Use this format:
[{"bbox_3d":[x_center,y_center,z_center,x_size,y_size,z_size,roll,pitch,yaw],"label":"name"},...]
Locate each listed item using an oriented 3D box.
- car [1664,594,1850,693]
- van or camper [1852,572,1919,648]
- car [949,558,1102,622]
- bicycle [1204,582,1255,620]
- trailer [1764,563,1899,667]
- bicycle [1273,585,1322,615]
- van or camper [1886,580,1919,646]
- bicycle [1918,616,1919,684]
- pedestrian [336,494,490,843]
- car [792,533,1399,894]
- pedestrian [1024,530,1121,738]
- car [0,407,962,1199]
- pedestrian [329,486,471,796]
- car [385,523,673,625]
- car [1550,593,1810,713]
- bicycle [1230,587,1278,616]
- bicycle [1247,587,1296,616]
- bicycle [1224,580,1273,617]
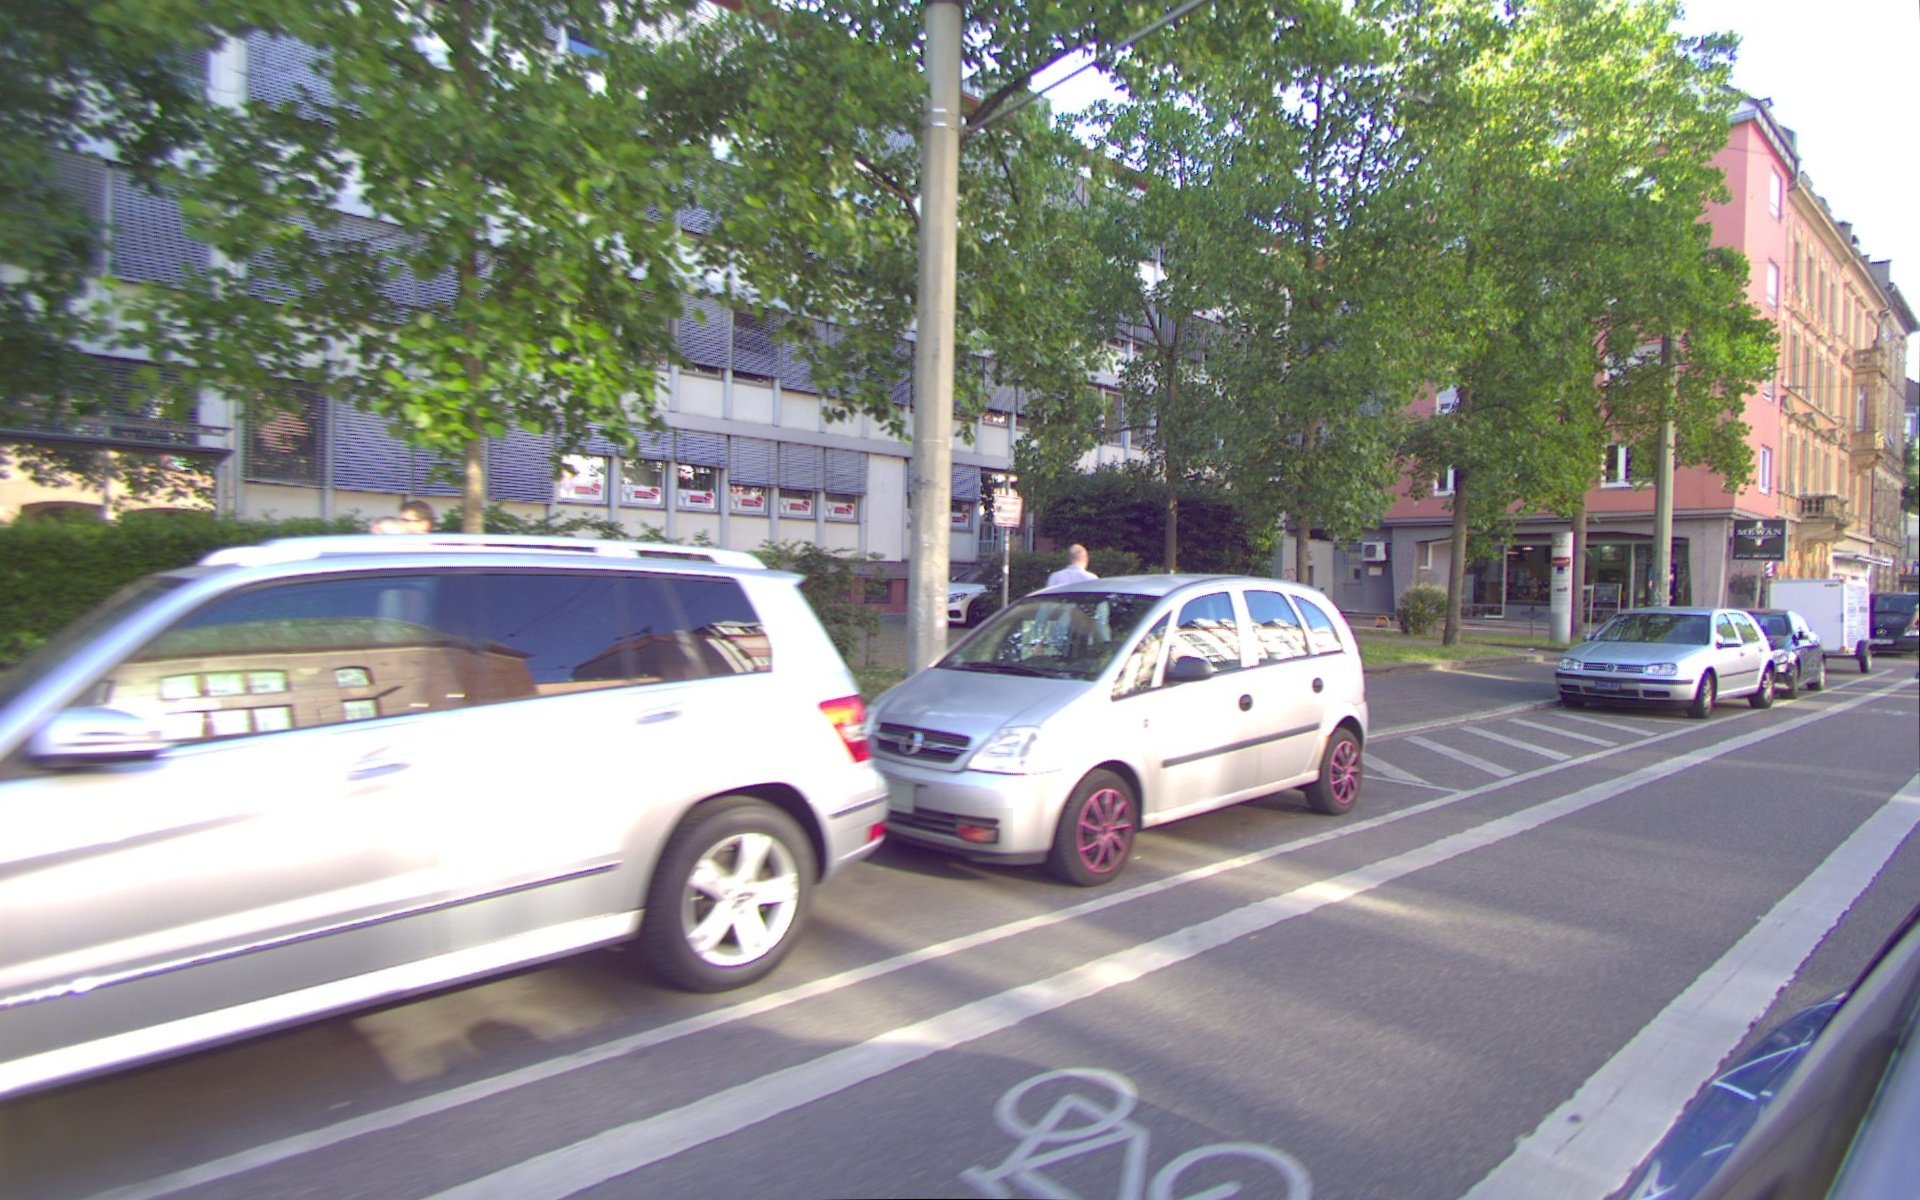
[{"bbox_3d":[13.675,0.657,17.267,4.250,1.453,1.804,-1,-1,-42],"label":"car"},{"bbox_3d":[27.935,0.257,29.770,5.240,2.071,1.973,-1,0,-43],"label":"van or camper"},{"bbox_3d":[1.708,-0.296,25.492,1.789,1.482,3.939,2,2,42],"label":"car"},{"bbox_3d":[8.841,0.022,33.270,1.584,1.128,0.442,4,3,44],"label":"bicycle"},{"bbox_3d":[19.472,0.288,22.570,3.774,2.143,1.664,-1,0,-40],"label":"trailer"},{"bbox_3d":[11.963,-0.001,35.915,1.581,0.974,0.443,4,3,40],"label":"bicycle"},{"bbox_3d":[32.497,0.377,33.656,5.381,2.062,1.934,-1,1,-42],"label":"van or camper"},{"bbox_3d":[17.379,0.855,17.781,2.060,1.153,0.648,-1,2,-43],"label":"bicycle"},{"bbox_3d":[-3.300,0.376,6.100,0.733,1.977,0.467,0,5,-36],"label":"pedestrian"},{"bbox_3d":[1.079,0.502,6.510,3.995,1.610,1.716,0,0,-42],"label":"car"},{"bbox_3d":[1.030,0.282,9.297,0.591,1.830,0.613,0,2,-36],"label":"pedestrian"},{"bbox_3d":[-2.318,0.478,3.520,4.633,1.857,1.927,0,0,-44],"label":"car"},{"bbox_3d":[-3.718,0.230,6.706,0.733,1.920,0.671,0,4,-35],"label":"pedestrian"},{"bbox_3d":[-7.356,-0.398,17.544,4.238,1.556,1.791,1,1,-44],"label":"car"},{"bbox_3d":[10.236,0.631,14.288,4.234,1.461,1.755,0,0,-36],"label":"car"},{"bbox_3d":[10.004,0.046,34.519,0.441,0.886,1.588,0,3,-38],"label":"bicycle"},{"bbox_3d":[10.580,0.043,34.400,0.441,0.886,1.588,0,3,-38],"label":"bicycle"},{"bbox_3d":[9.661,-0.053,33.906,0.441,1.139,1.588,0,3,-38],"label":"bicycle"}]
